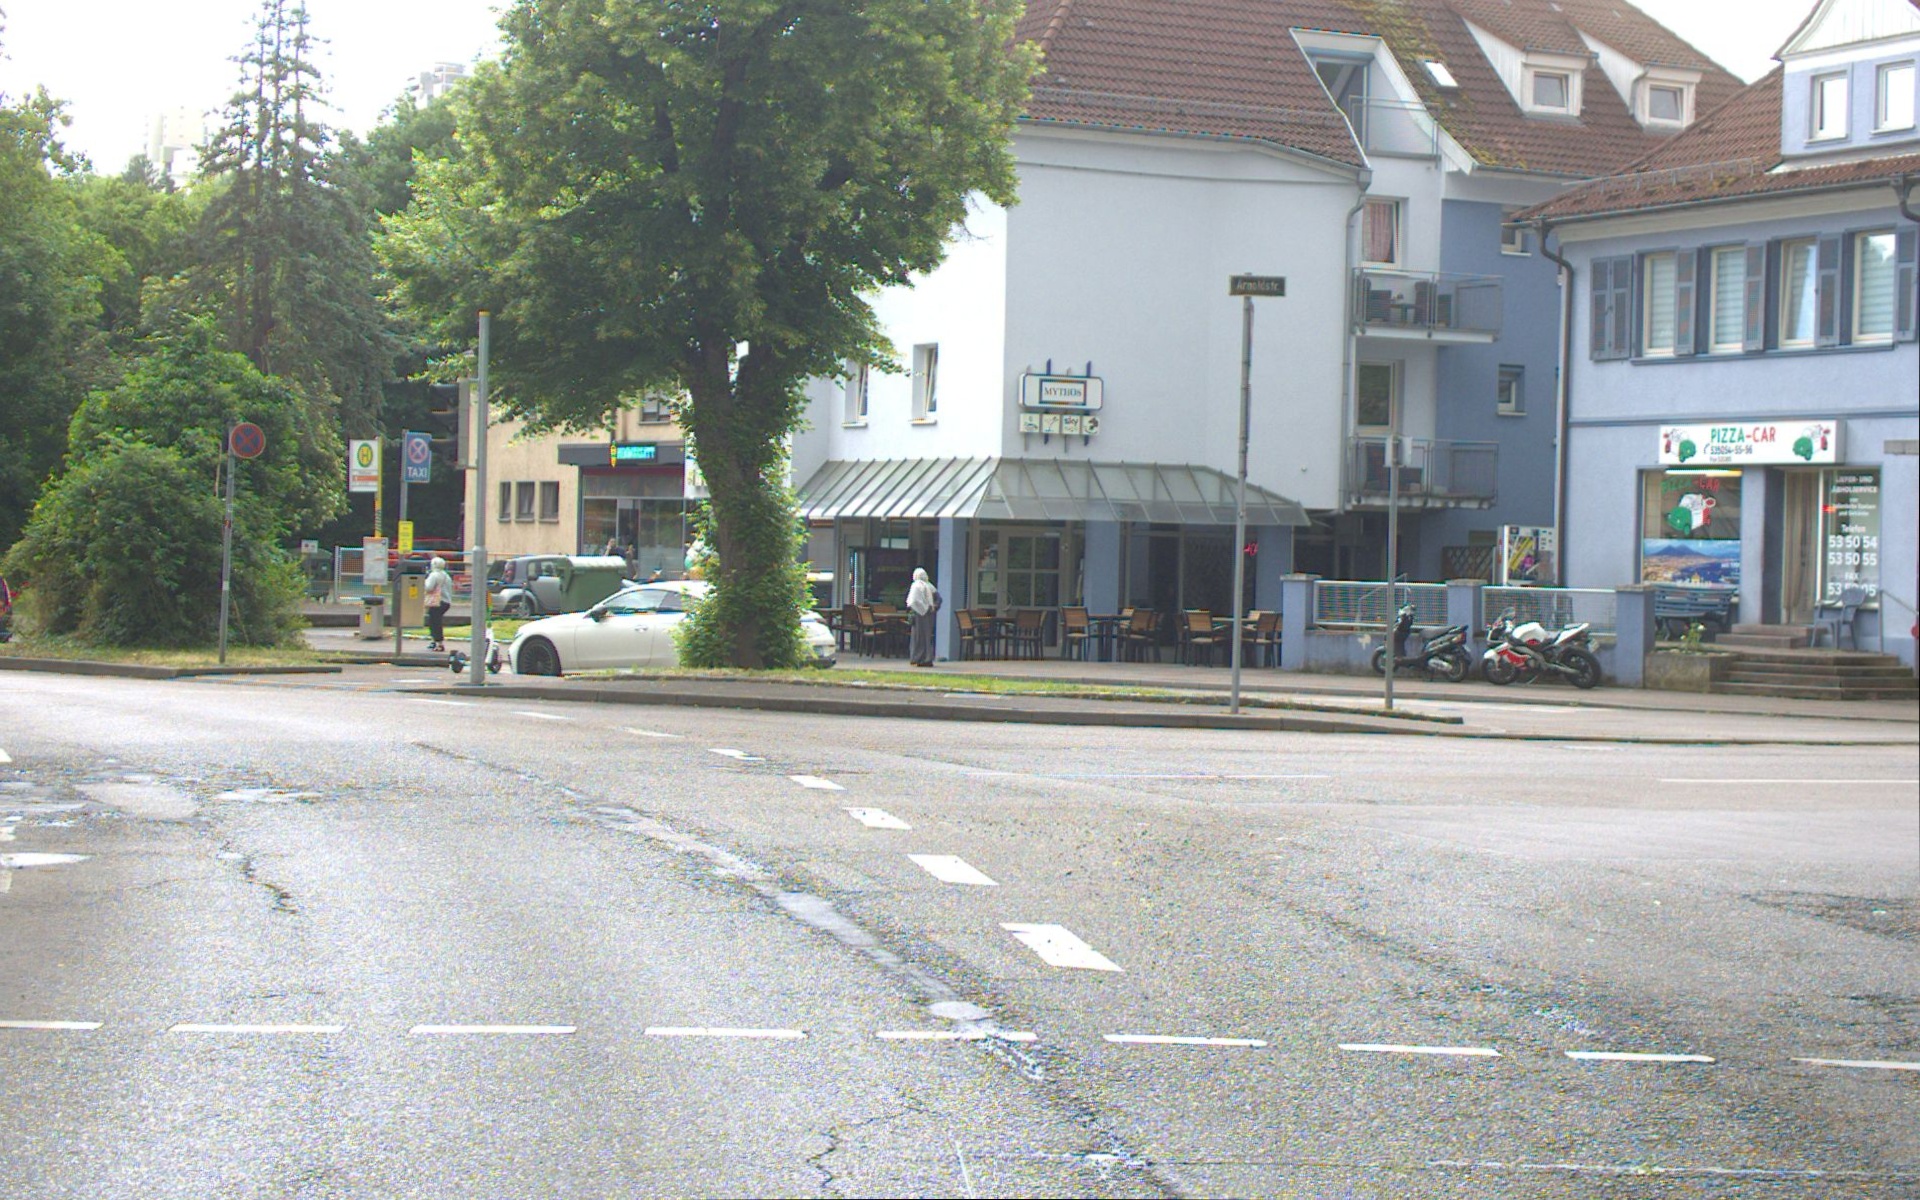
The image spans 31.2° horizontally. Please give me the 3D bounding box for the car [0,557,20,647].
[{"bbox_3d":[-16.514,-0.008,53.720,3.590,1.389,1.469,2,1,32],"label":"car"}]

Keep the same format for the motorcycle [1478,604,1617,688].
[{"bbox_3d":[8.258,0.635,48.381,1.798,1.118,0.693,2,1,38],"label":"motorcycle"}]

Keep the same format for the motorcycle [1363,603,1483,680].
[{"bbox_3d":[6.752,0.598,50.159,1.636,1.060,0.693,2,1,44],"label":"motorcycle"}]

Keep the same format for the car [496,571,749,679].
[{"bbox_3d":[-4.530,0.319,46.042,3.171,1.350,1.436,2,1,35],"label":"car"}]

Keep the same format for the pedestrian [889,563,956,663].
[{"bbox_3d":[-0.584,0.204,53.902,0.768,1.539,0.677,1,1,39],"label":"pedestrian"}]

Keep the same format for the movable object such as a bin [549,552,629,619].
[{"bbox_3d":[-7.985,-0.318,73.974,1.440,1.404,0.967,1,1,-27],"label":"movable object such as a bin"}]

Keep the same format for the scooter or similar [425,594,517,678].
[{"bbox_3d":[-6.058,0.434,42.649,0.417,1.008,1.565,1,1,20],"label":"scooter or similar"}]

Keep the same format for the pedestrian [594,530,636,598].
[{"bbox_3d":[-7.941,-0.826,79.184,0.676,1.539,0.708,1,1,-34],"label":"pedestrian"}]

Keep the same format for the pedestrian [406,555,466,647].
[{"bbox_3d":[-8.870,0.012,58.160,0.707,1.539,0.677,2,1,40],"label":"pedestrian"}]

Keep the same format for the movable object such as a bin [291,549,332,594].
[{"bbox_3d":[-16.250,-0.723,86.166,0.950,1.111,0.383,1,1,-21],"label":"movable object such as a bin"}]

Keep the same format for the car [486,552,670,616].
[{"bbox_3d":[-8.427,-0.359,75.871,3.733,1.340,1.434,1,1,-26],"label":"car"}]
